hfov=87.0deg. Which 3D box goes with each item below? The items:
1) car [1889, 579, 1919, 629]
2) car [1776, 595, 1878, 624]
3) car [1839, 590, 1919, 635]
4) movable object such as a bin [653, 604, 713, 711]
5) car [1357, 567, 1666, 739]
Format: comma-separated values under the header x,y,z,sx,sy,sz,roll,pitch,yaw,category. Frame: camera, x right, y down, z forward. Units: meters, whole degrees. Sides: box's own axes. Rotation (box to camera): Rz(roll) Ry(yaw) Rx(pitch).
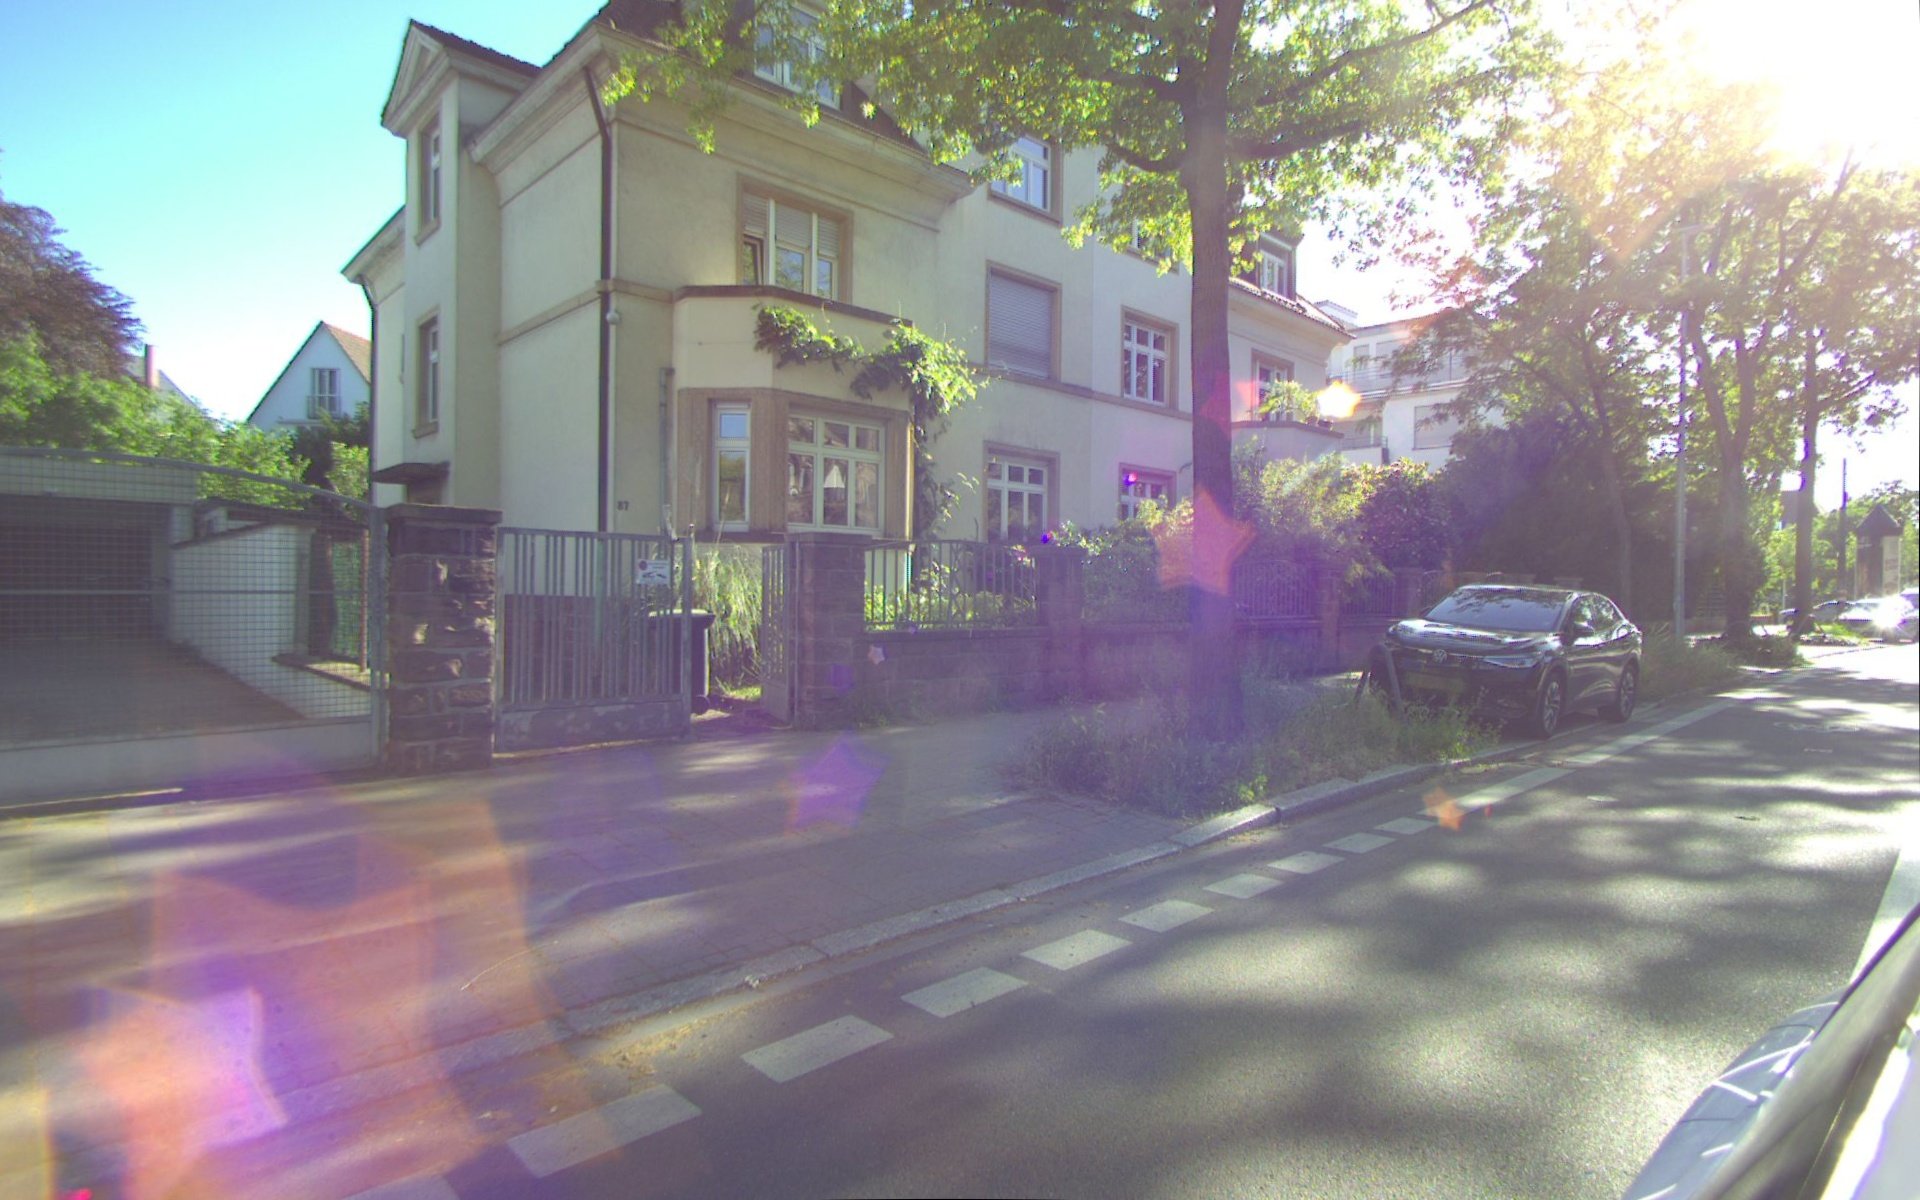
x,y,z,sx,sy,sz,roll,pitch,yaw,category
36.673,0.131,37.851,4.580,1.808,1.903,0,1,-35,car
46.068,0.461,53.835,1.784,1.459,3.990,0,1,-44,car
31.513,0.384,34.269,4.181,1.427,1.901,0,1,-38,car
-2.923,0.585,10.668,0.551,1.062,0.676,0,0,-20,movable object such as a bin
6.709,0.496,12.133,4.186,1.619,1.917,0,4,-42,car
